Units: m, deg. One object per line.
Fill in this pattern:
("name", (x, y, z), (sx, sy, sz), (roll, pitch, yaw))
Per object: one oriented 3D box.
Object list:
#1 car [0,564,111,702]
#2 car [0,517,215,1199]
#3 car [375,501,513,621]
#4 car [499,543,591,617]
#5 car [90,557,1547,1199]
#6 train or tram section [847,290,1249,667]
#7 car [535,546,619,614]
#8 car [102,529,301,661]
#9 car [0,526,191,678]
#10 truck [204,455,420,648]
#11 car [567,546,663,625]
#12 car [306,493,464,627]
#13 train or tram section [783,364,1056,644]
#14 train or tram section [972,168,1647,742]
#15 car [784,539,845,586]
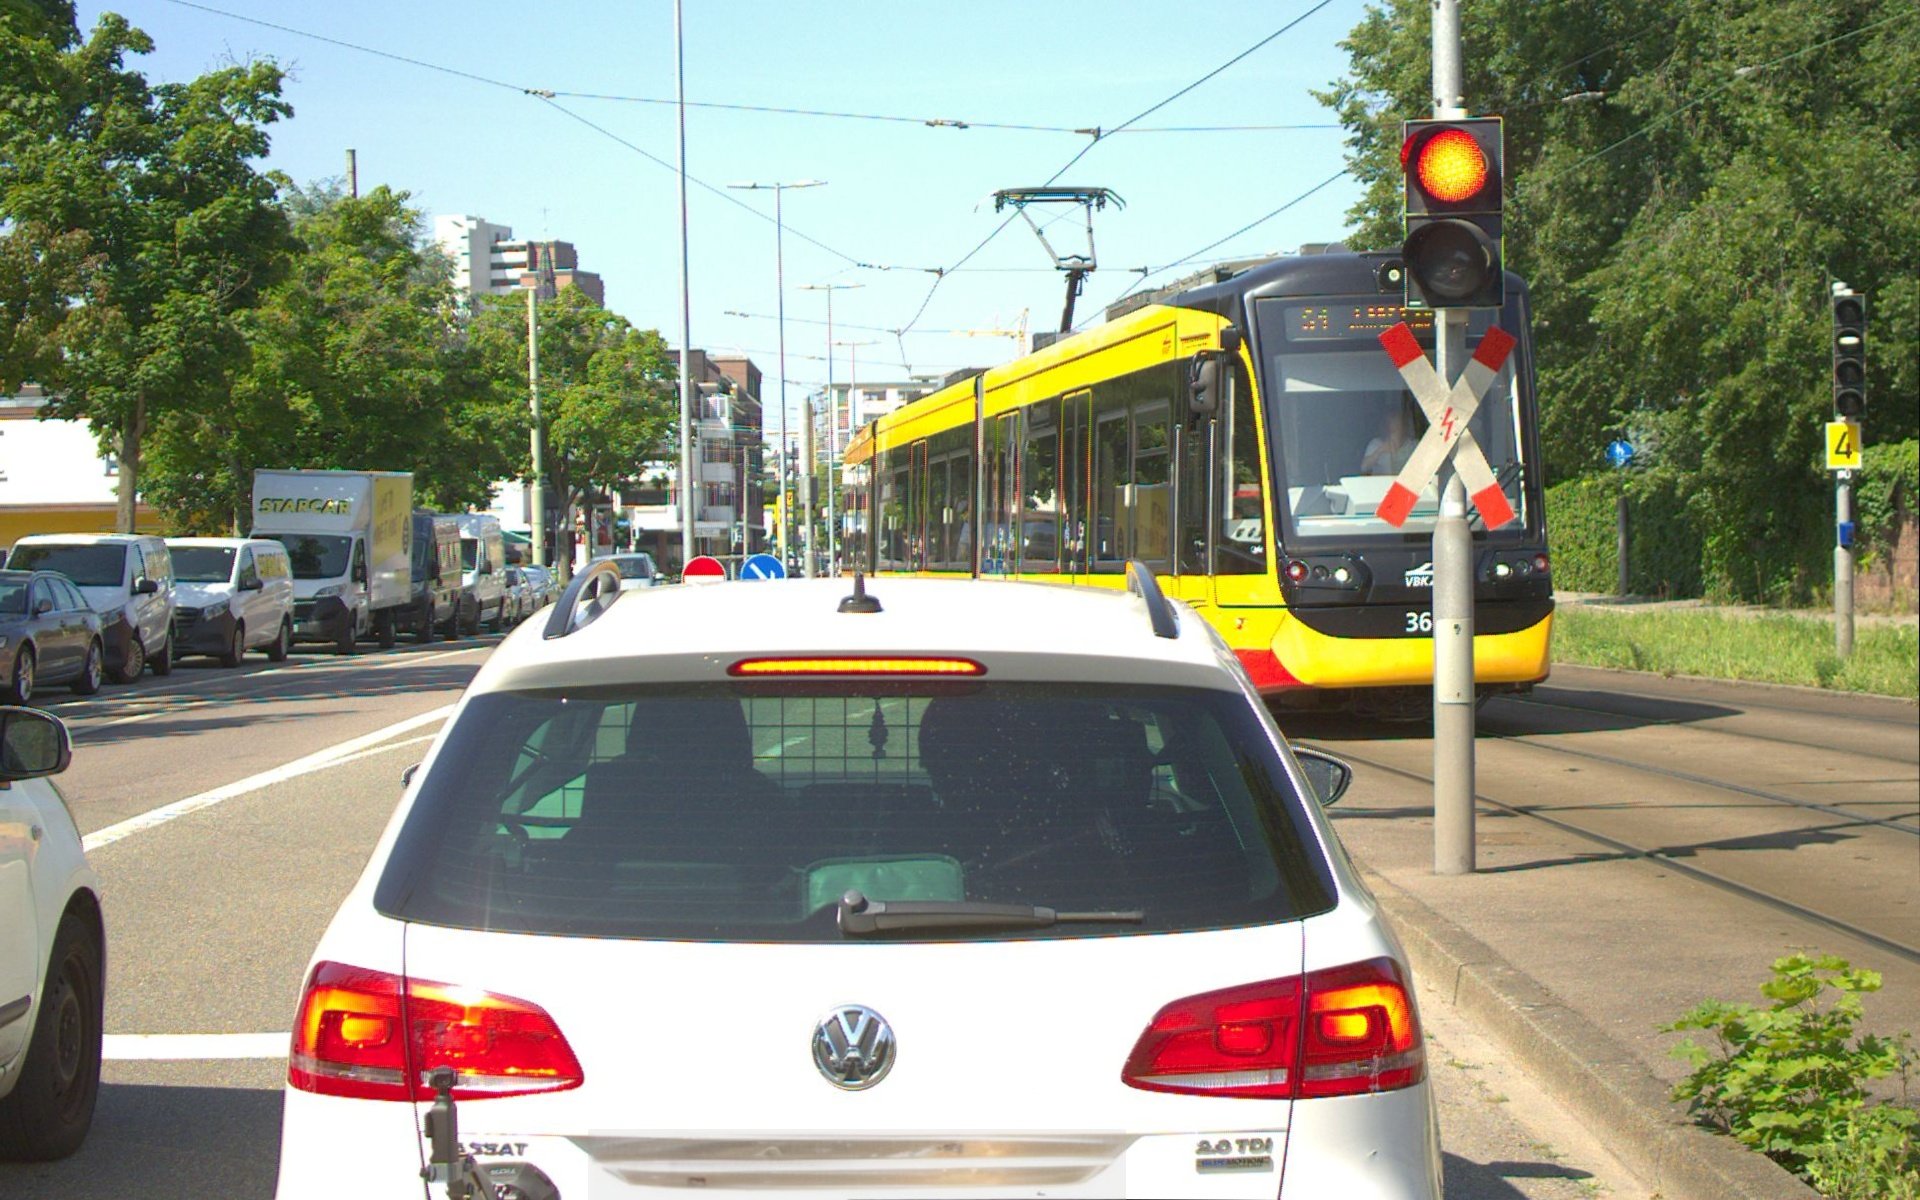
("car", (-10.992, 0.328, 38.683), (1.863, 1.411, 4.280), (1, 1, -1))
("car", (-2.935, 0.595, 7.363), (1.662, 1.542, 4.547), (0, 1, 0))
("car", (-11.315, -0.880, 75.763), (2.123, 2.508, 5.733), (1, 1, 0))
("car", (-11.027, -0.566, 91.693), (1.863, 1.861, 5.414), (1, 1, -1))
("car", (-0.185, 0.671, 6.207), (1.762, 1.425, 4.000), (-1, 1, -1))
("train or tram section", (0.722, -1.369, 41.793), (2.870, 3.842, 12.394), (-1, 1, -8))
("car", (-10.951, -0.601, 98.610), (1.863, 1.861, 5.414), (1, 1, -1))
("car", (-11.373, -0.125, 51.910), (1.863, 1.861, 5.414), (1, 1, -1))
("car", (-11.408, -0.030, 45.327), (1.863, 1.861, 5.075), (1, 1, -6))
("truck", (-11.266, -0.869, 60.324), (2.421, 3.139, 6.997), (1, 1, 0))
("car", (-7.294, -0.329, 72.920), (1.676, 1.548, 3.580), (-3, 1, -1))
("car", (-11.363, -0.810, 68.326), (2.123, 2.508, 5.733), (1, 1, 0))
("train or tram section", (-0.831, -1.430, 53.157), (2.870, 3.842, 10.541), (-1, 1, -8))
("train or tram section", (2.416, -1.097, 29.496), (2.870, 3.842, 12.394), (-1, 1, -8))
("car", (-4.748, -1.236, 112.392), (1.705, 1.468, 4.589), (-2, 1, 1))
